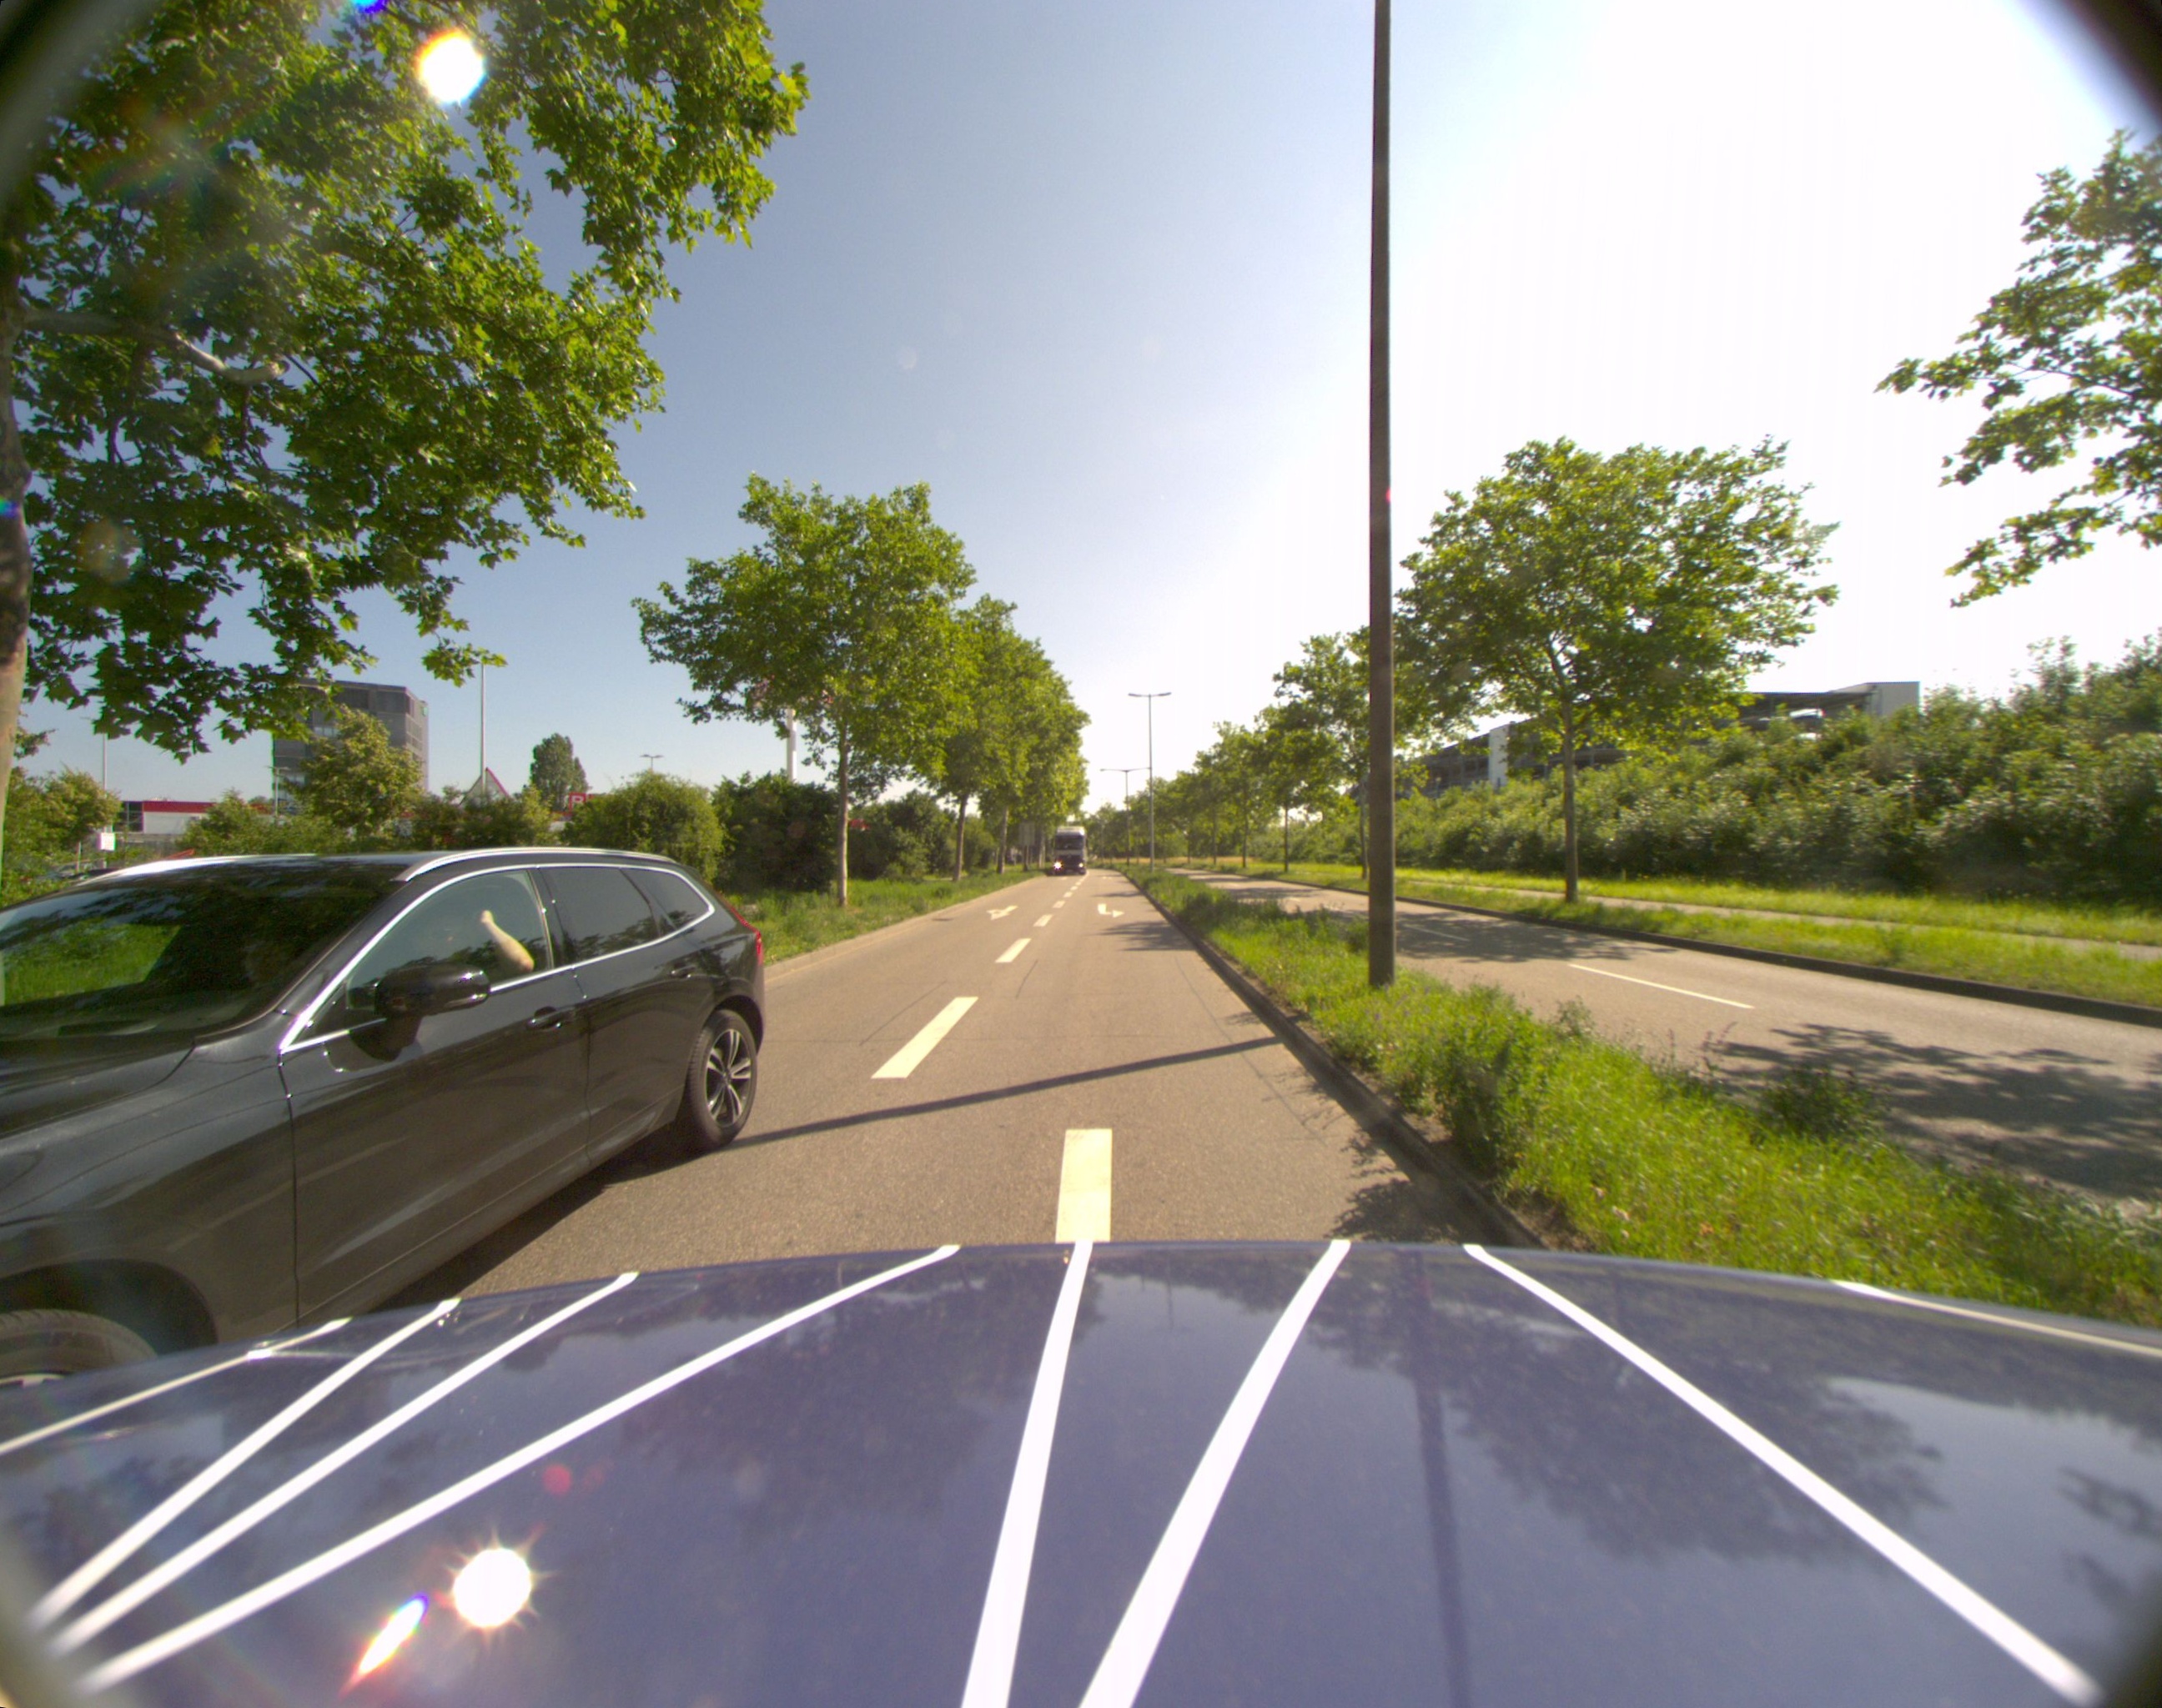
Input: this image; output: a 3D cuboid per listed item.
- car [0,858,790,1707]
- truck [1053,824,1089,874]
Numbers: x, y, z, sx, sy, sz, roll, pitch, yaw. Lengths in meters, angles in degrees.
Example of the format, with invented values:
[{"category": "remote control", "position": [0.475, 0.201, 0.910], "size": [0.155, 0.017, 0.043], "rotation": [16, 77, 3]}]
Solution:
[{"category": "car", "position": [-2.870, 0.879, 2.558], "size": [1.924, 1.613, 4.564], "rotation": [-2, 1, 1]}, {"category": "truck", "position": [-0.797, -0.401, 63.059], "size": [2.741, 3.872, 5.851], "rotation": [-2, 1, 1]}]
